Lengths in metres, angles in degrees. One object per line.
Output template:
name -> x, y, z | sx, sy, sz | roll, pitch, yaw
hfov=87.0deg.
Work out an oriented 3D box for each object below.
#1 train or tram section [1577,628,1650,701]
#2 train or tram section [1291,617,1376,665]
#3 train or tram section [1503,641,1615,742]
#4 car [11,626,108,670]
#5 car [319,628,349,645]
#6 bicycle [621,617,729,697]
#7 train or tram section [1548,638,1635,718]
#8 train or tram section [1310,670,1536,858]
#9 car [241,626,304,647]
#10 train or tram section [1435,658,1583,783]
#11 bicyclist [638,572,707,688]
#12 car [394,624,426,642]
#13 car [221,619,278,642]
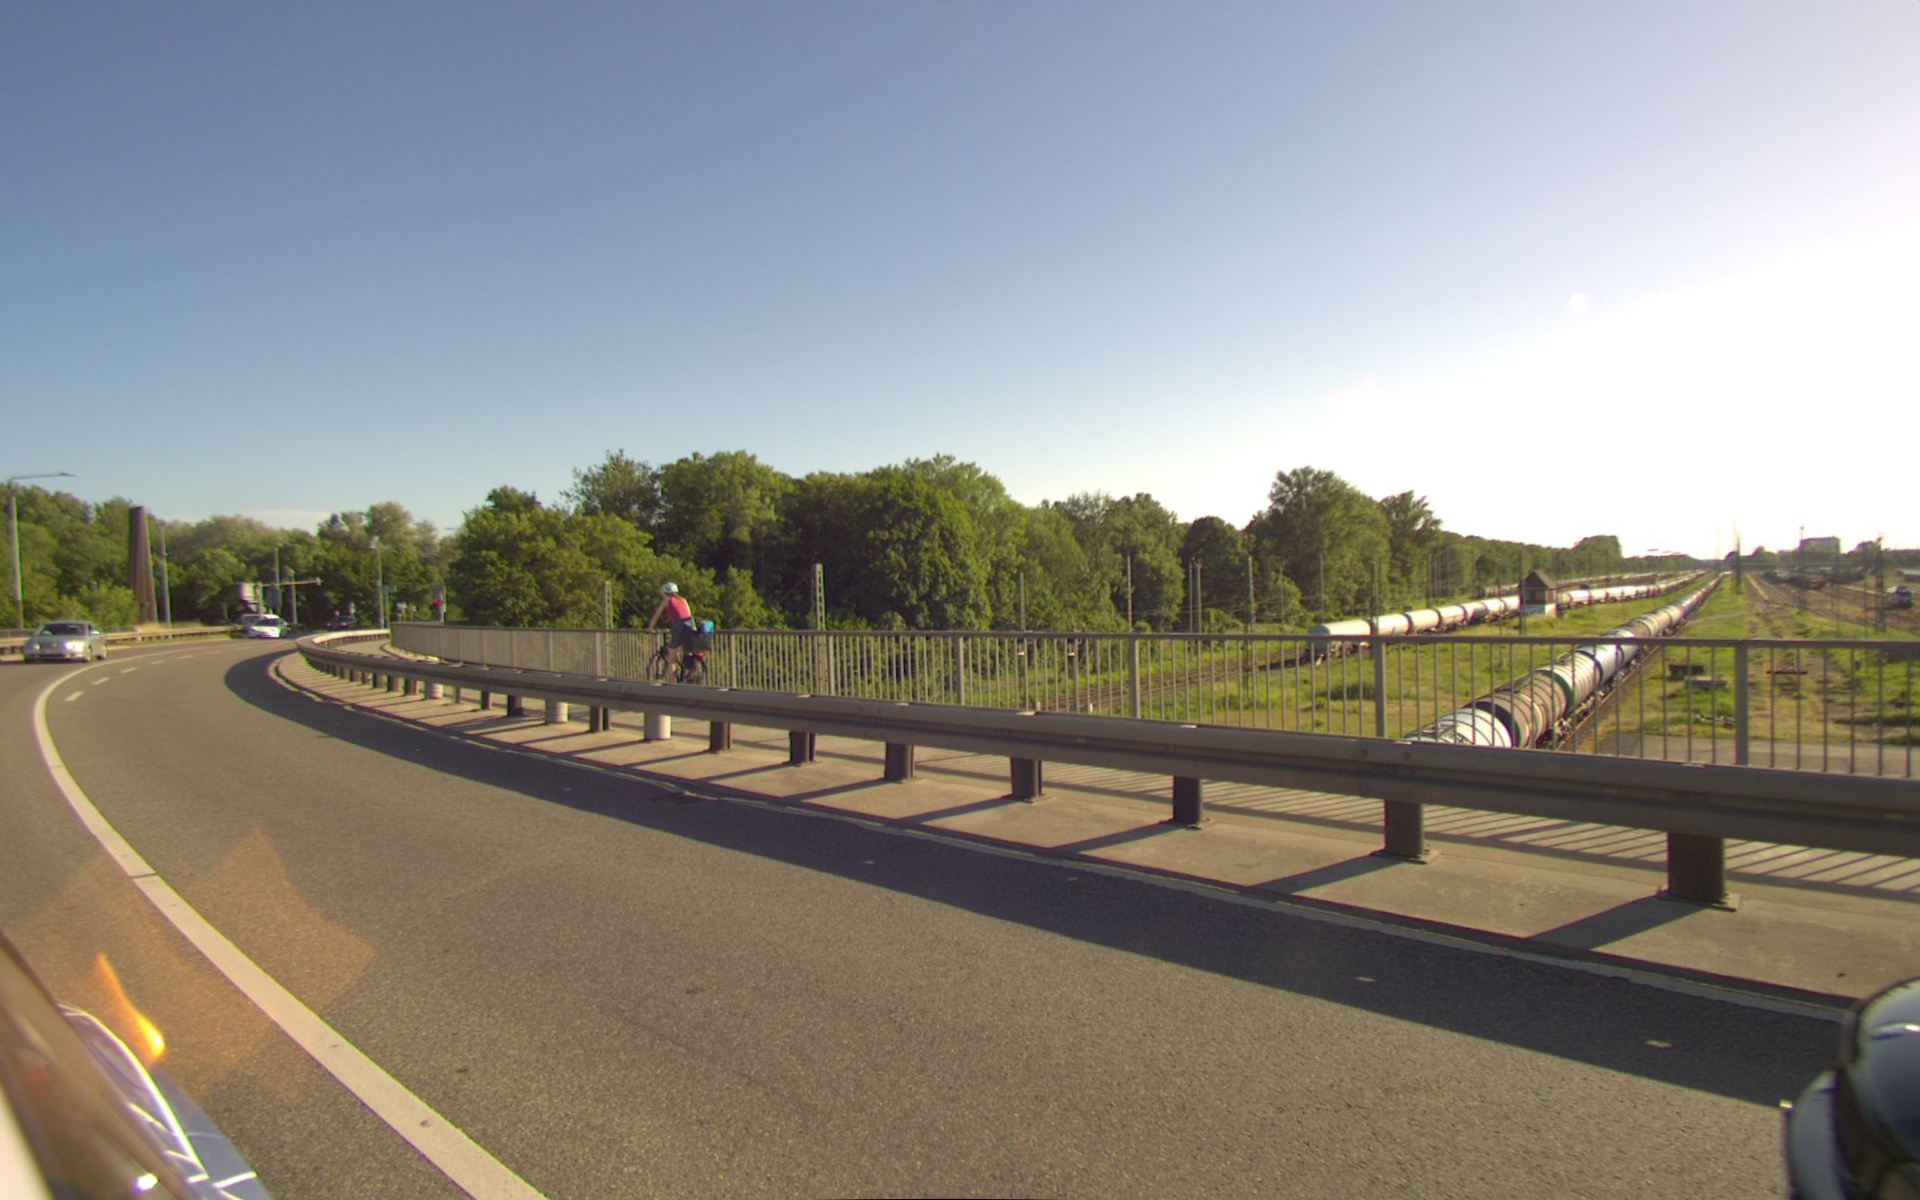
train or tram section -> 57.724, 5.400, 89.100 | 3.900, 5.561, 16.294 | -1, -1, 38
train or tram section -> 44.203, 4.622, 118.927 | 4.042, 5.125, 19.112 | -1, -1, 37
train or tram section -> 37.792, 5.349, 63.361 | 3.900, 5.055, 16.454 | -1, -1, 38
car -> -31.568, 1.636, 35.598 | 1.735, 1.447, 4.343 | 0, -1, -30
car -> -63.338, 3.720, 102.488 | 1.890, 1.630, 3.754 | 0, -1, -20
bicycle -> -4.105, 0.790, 14.476 | 1.891, 1.073, 0.646 | -2, -2, 45
train or tram section -> 47.786, 5.545, 76.236 | 3.900, 5.055, 16.158 | -1, -1, 38
train or tram section -> 17.766, 5.367, 37.565 | 3.900, 4.626, 16.555 | -1, -1, 38
car -> -50.035, 2.633, 73.778 | 1.965, 1.484, 4.132 | -1, -1, -3
train or tram section -> 27.785, 5.533, 50.517 | 3.900, 4.626, 16.104 | -1, -1, 38
bicyclist -> -4.114, 0.421, 14.467 | 0.768, 1.601, 0.646 | -2, -2, 45
car -> -47.683, 2.834, 87.768 | 1.847, 1.450, 4.335 | 0, -1, -20
car -> -83.116, 3.573, 118.413 | 5.643, 2.518, 2.108 | -3, -1, 10
